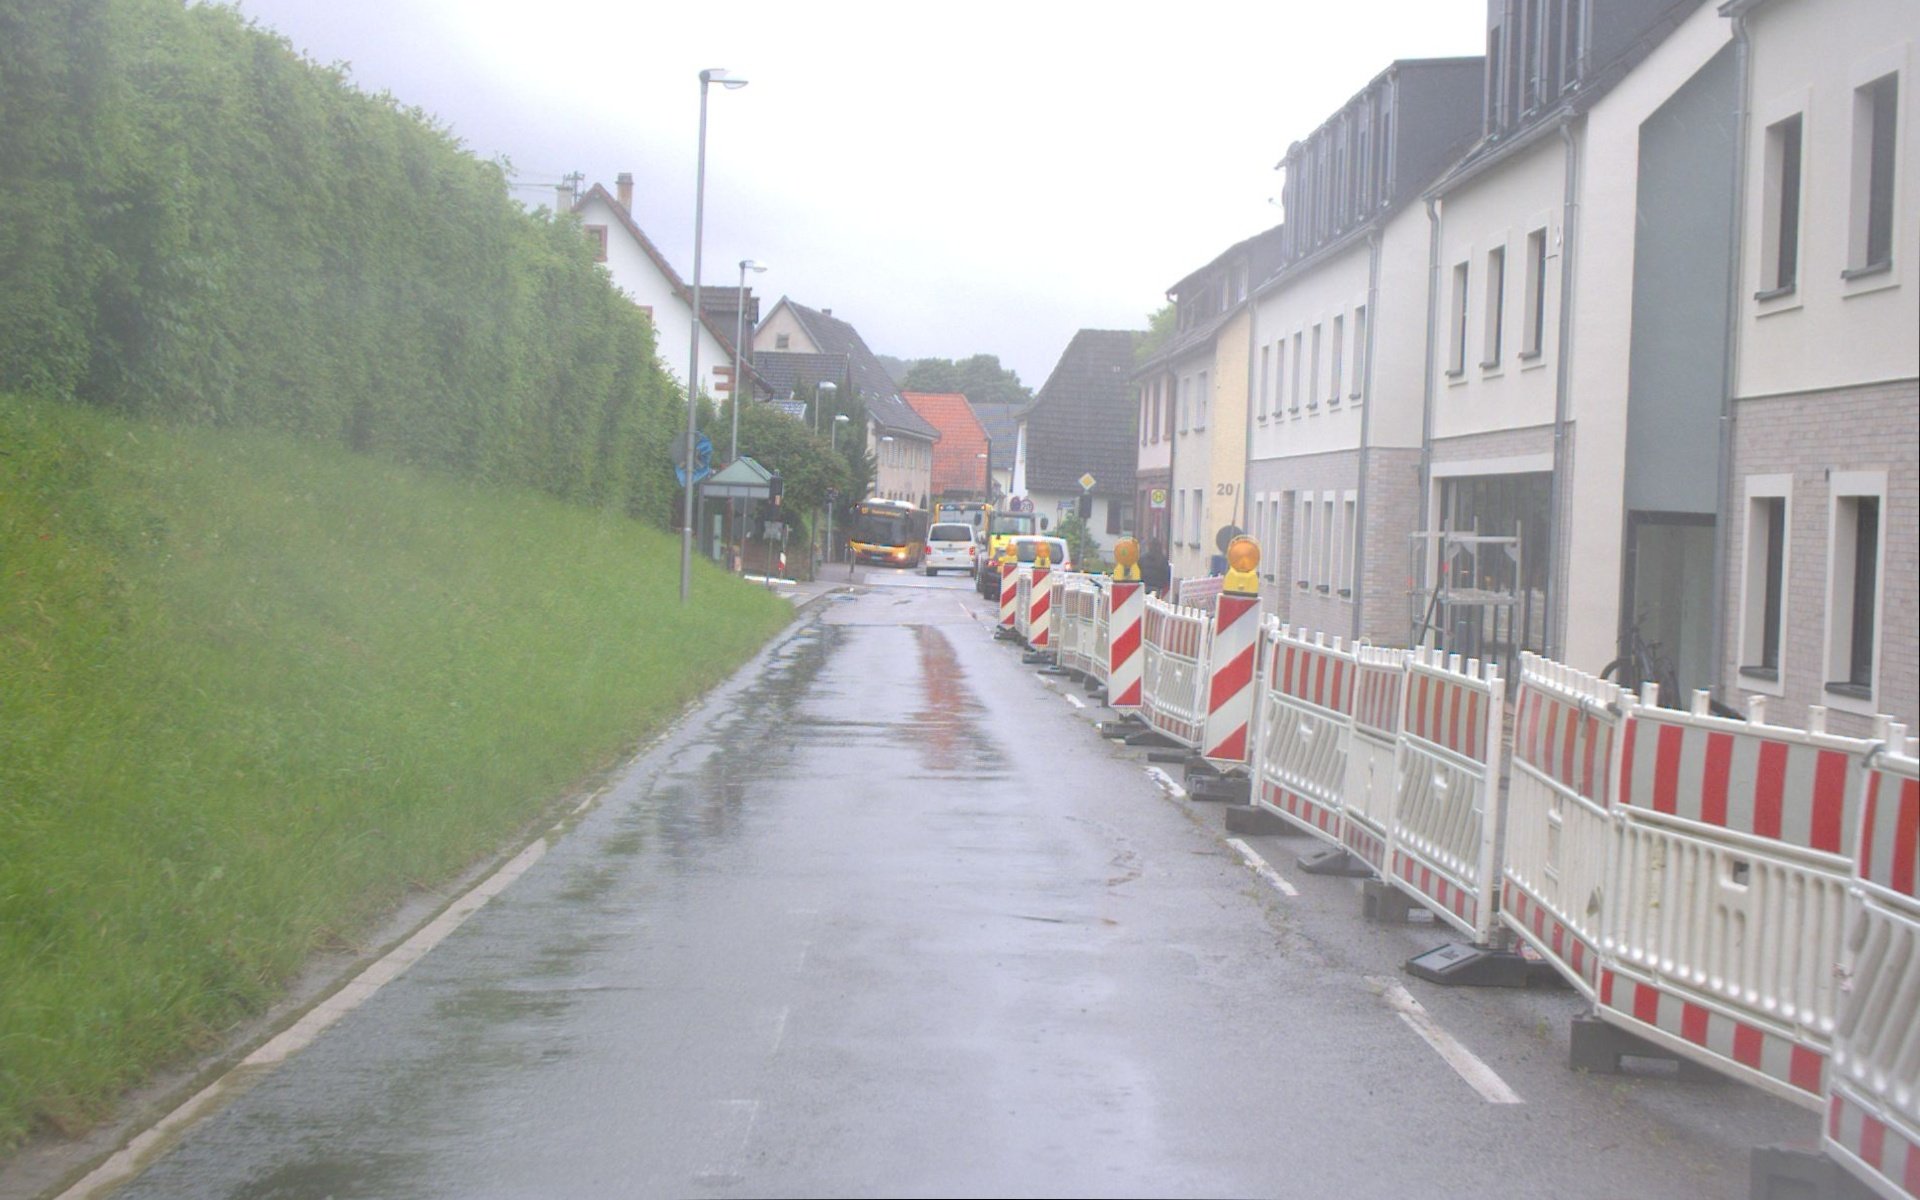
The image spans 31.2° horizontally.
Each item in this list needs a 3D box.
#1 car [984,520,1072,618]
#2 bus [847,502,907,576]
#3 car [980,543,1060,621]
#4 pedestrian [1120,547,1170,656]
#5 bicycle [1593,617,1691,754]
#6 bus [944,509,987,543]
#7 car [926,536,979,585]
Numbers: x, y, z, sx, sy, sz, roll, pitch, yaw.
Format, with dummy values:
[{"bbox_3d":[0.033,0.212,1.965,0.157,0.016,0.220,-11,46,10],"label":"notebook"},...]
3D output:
[{"bbox_3d":[1.741,-0.807,89.325,1.993,2.367,4.096,4,1,-1],"label":"car"},{"bbox_3d":[-3.704,-2.710,154.338,2.241,3.092,7.030,4,1,1],"label":"bus"},{"bbox_3d":[1.641,-0.512,95.225,1.993,2.007,4.000,4,1,-1],"label":"car"},{"bbox_3d":[3.067,0.025,57.042,0.665,1.749,0.812,4,0,0],"label":"pedestrian"},{"bbox_3d":[6.492,0.796,32.779,0.518,1.216,1.789,4,1,0],"label":"bicycle"},{"bbox_3d":[0.265,-3.407,159.273,1.794,1.405,4.000,4,1,1],"label":"bus"},{"bbox_3d":[-0.298,-1.457,126.882,1.818,1.636,4.096,4,1,-1],"label":"car"}]
